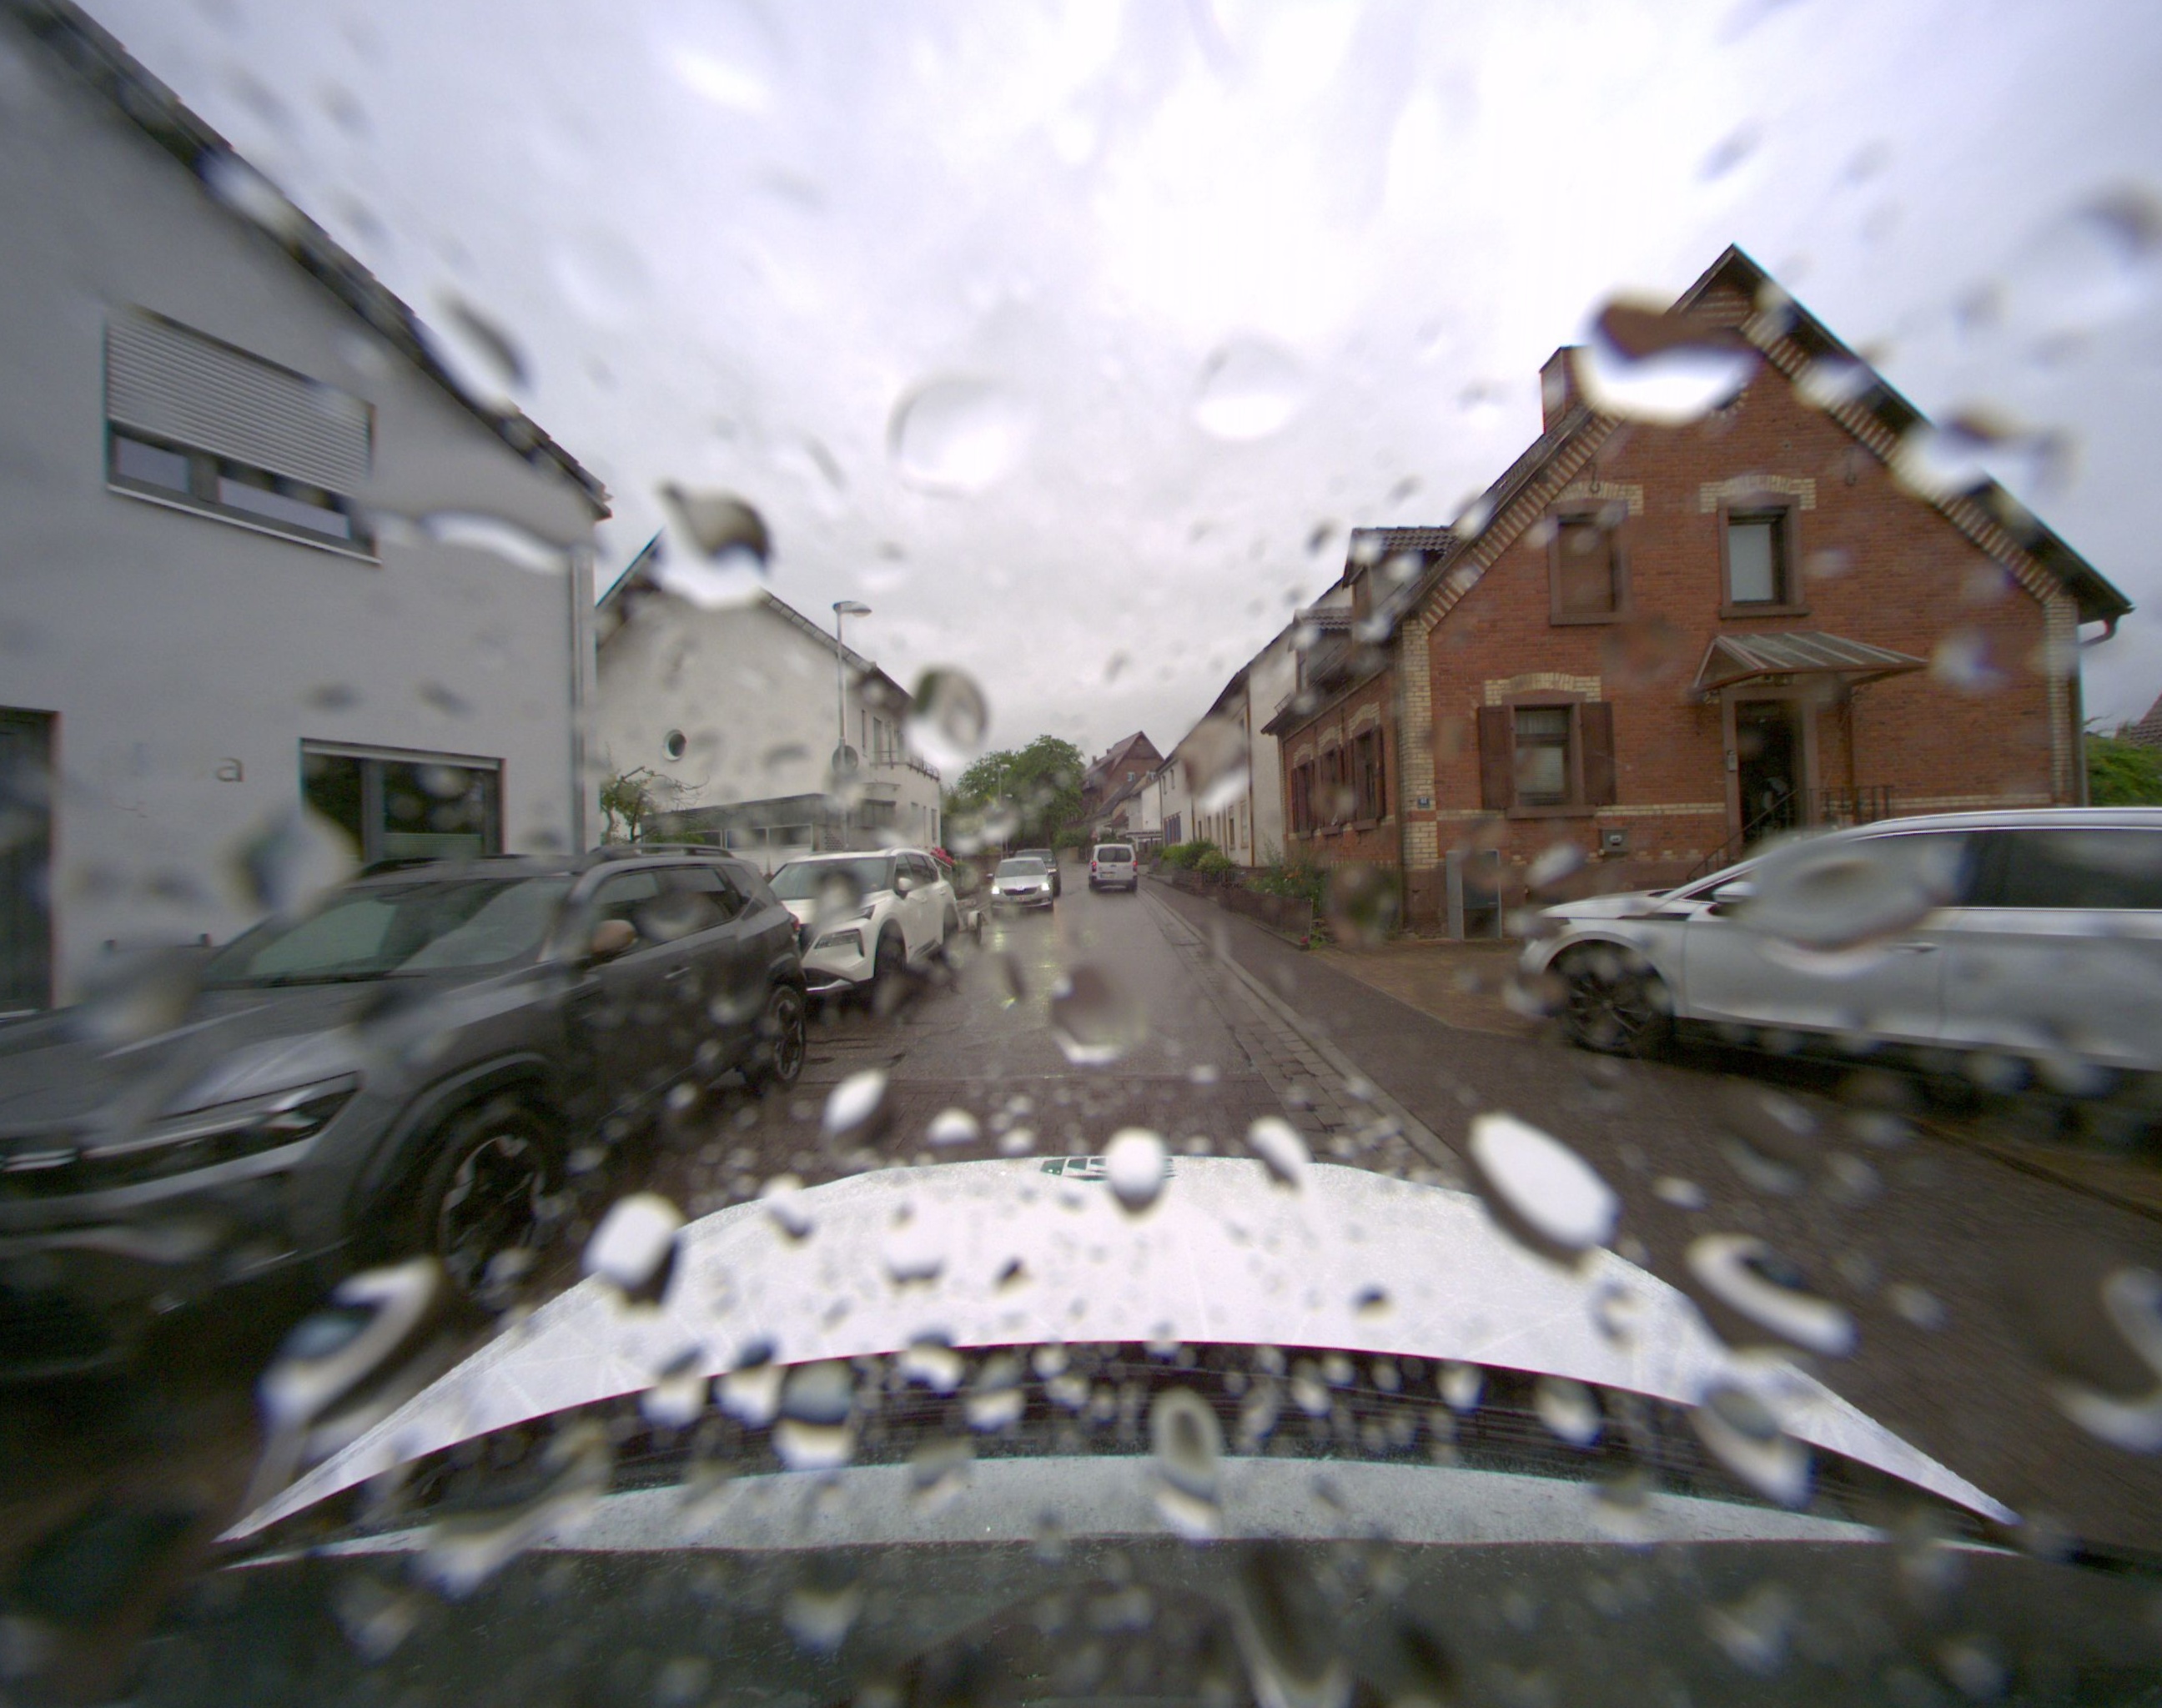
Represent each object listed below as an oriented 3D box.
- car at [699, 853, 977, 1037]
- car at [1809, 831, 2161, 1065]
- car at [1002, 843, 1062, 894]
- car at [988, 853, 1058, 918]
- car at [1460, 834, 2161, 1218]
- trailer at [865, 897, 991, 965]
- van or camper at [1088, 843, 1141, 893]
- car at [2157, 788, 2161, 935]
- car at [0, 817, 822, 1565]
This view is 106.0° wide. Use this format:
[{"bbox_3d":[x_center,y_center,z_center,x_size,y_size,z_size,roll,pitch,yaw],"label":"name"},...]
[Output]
[{"bbox_3d":[-2.613,0.888,10.008,1.741,1.636,4.422,-5,-1,3],"label":"car"},{"bbox_3d":[8.117,0.613,5.594,1.880,1.516,4.258,-3,1,-24],"label":"car"},{"bbox_3d":[-1.751,0.475,30.717,1.988,1.677,4.780,-3,1,-2],"label":"car"},{"bbox_3d":[-1.559,0.795,22.531,1.685,1.564,3.930,-3,0,-3],"label":"car"},{"bbox_3d":[4.881,0.702,4.773,1.883,1.590,4.575,-1,2,-30],"label":"car"},{"bbox_3d":[-2.477,1.236,13.722,1.477,0.829,2.677,-4,-1,2],"label":"trailer"},{"bbox_3d":[1.310,0.503,32.316,1.936,1.851,4.002,-1,1,2],"label":"van or camper"},{"bbox_3d":[10.760,0.217,5.301,1.811,1.675,4.191,-5,2,-21],"label":"car"},{"bbox_3d":[-2.873,0.806,3.965,1.806,1.779,4.018,-3,1,1],"label":"car"}]
